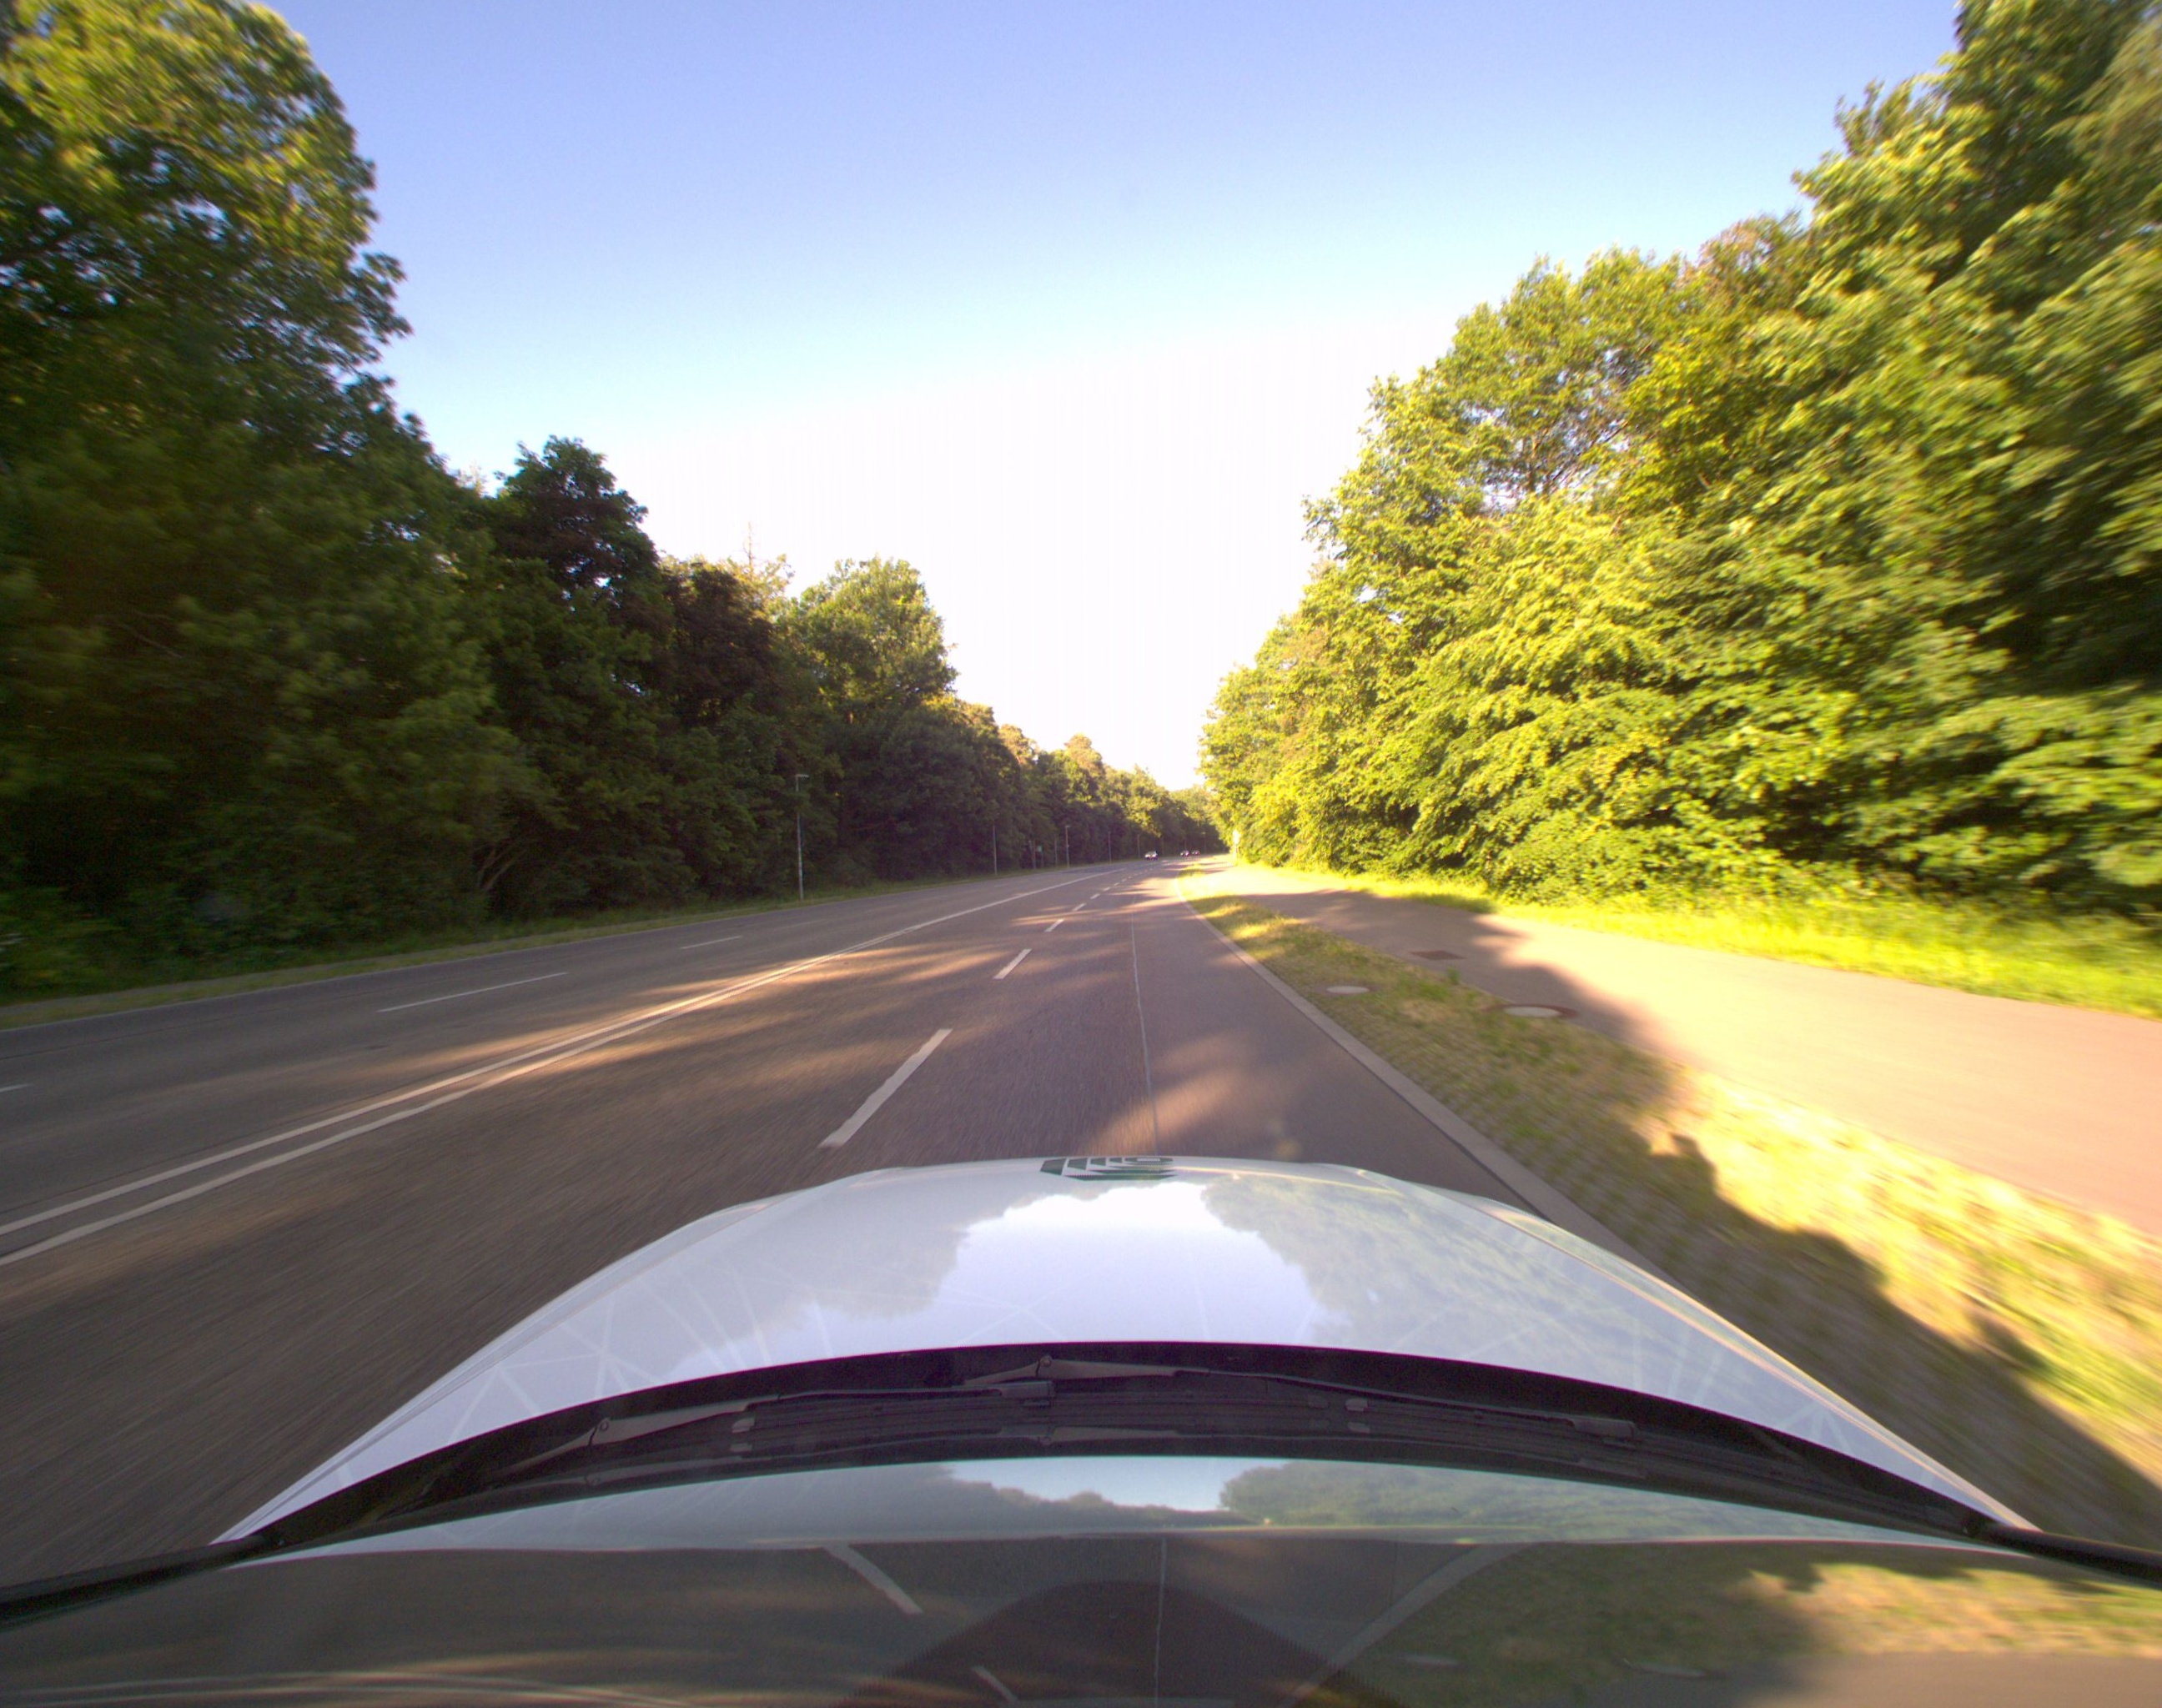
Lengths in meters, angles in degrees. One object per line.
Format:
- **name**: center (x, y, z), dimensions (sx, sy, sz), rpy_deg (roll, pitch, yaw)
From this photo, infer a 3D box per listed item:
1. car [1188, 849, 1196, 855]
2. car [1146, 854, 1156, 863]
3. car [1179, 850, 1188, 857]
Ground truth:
- **car**: center (32.151, -0.608, 234.919), dimensions (1.980, 1.585, 4.013), rpy_deg (-2, -1, 12)
- **car**: center (13.533, 0.824, 157.519), dimensions (1.985, 1.585, 4.004), rpy_deg (-2, -1, 4)
- **car**: center (26.976, -0.161, 213.942), dimensions (1.981, 1.585, 4.011), rpy_deg (-2, -1, 10)
